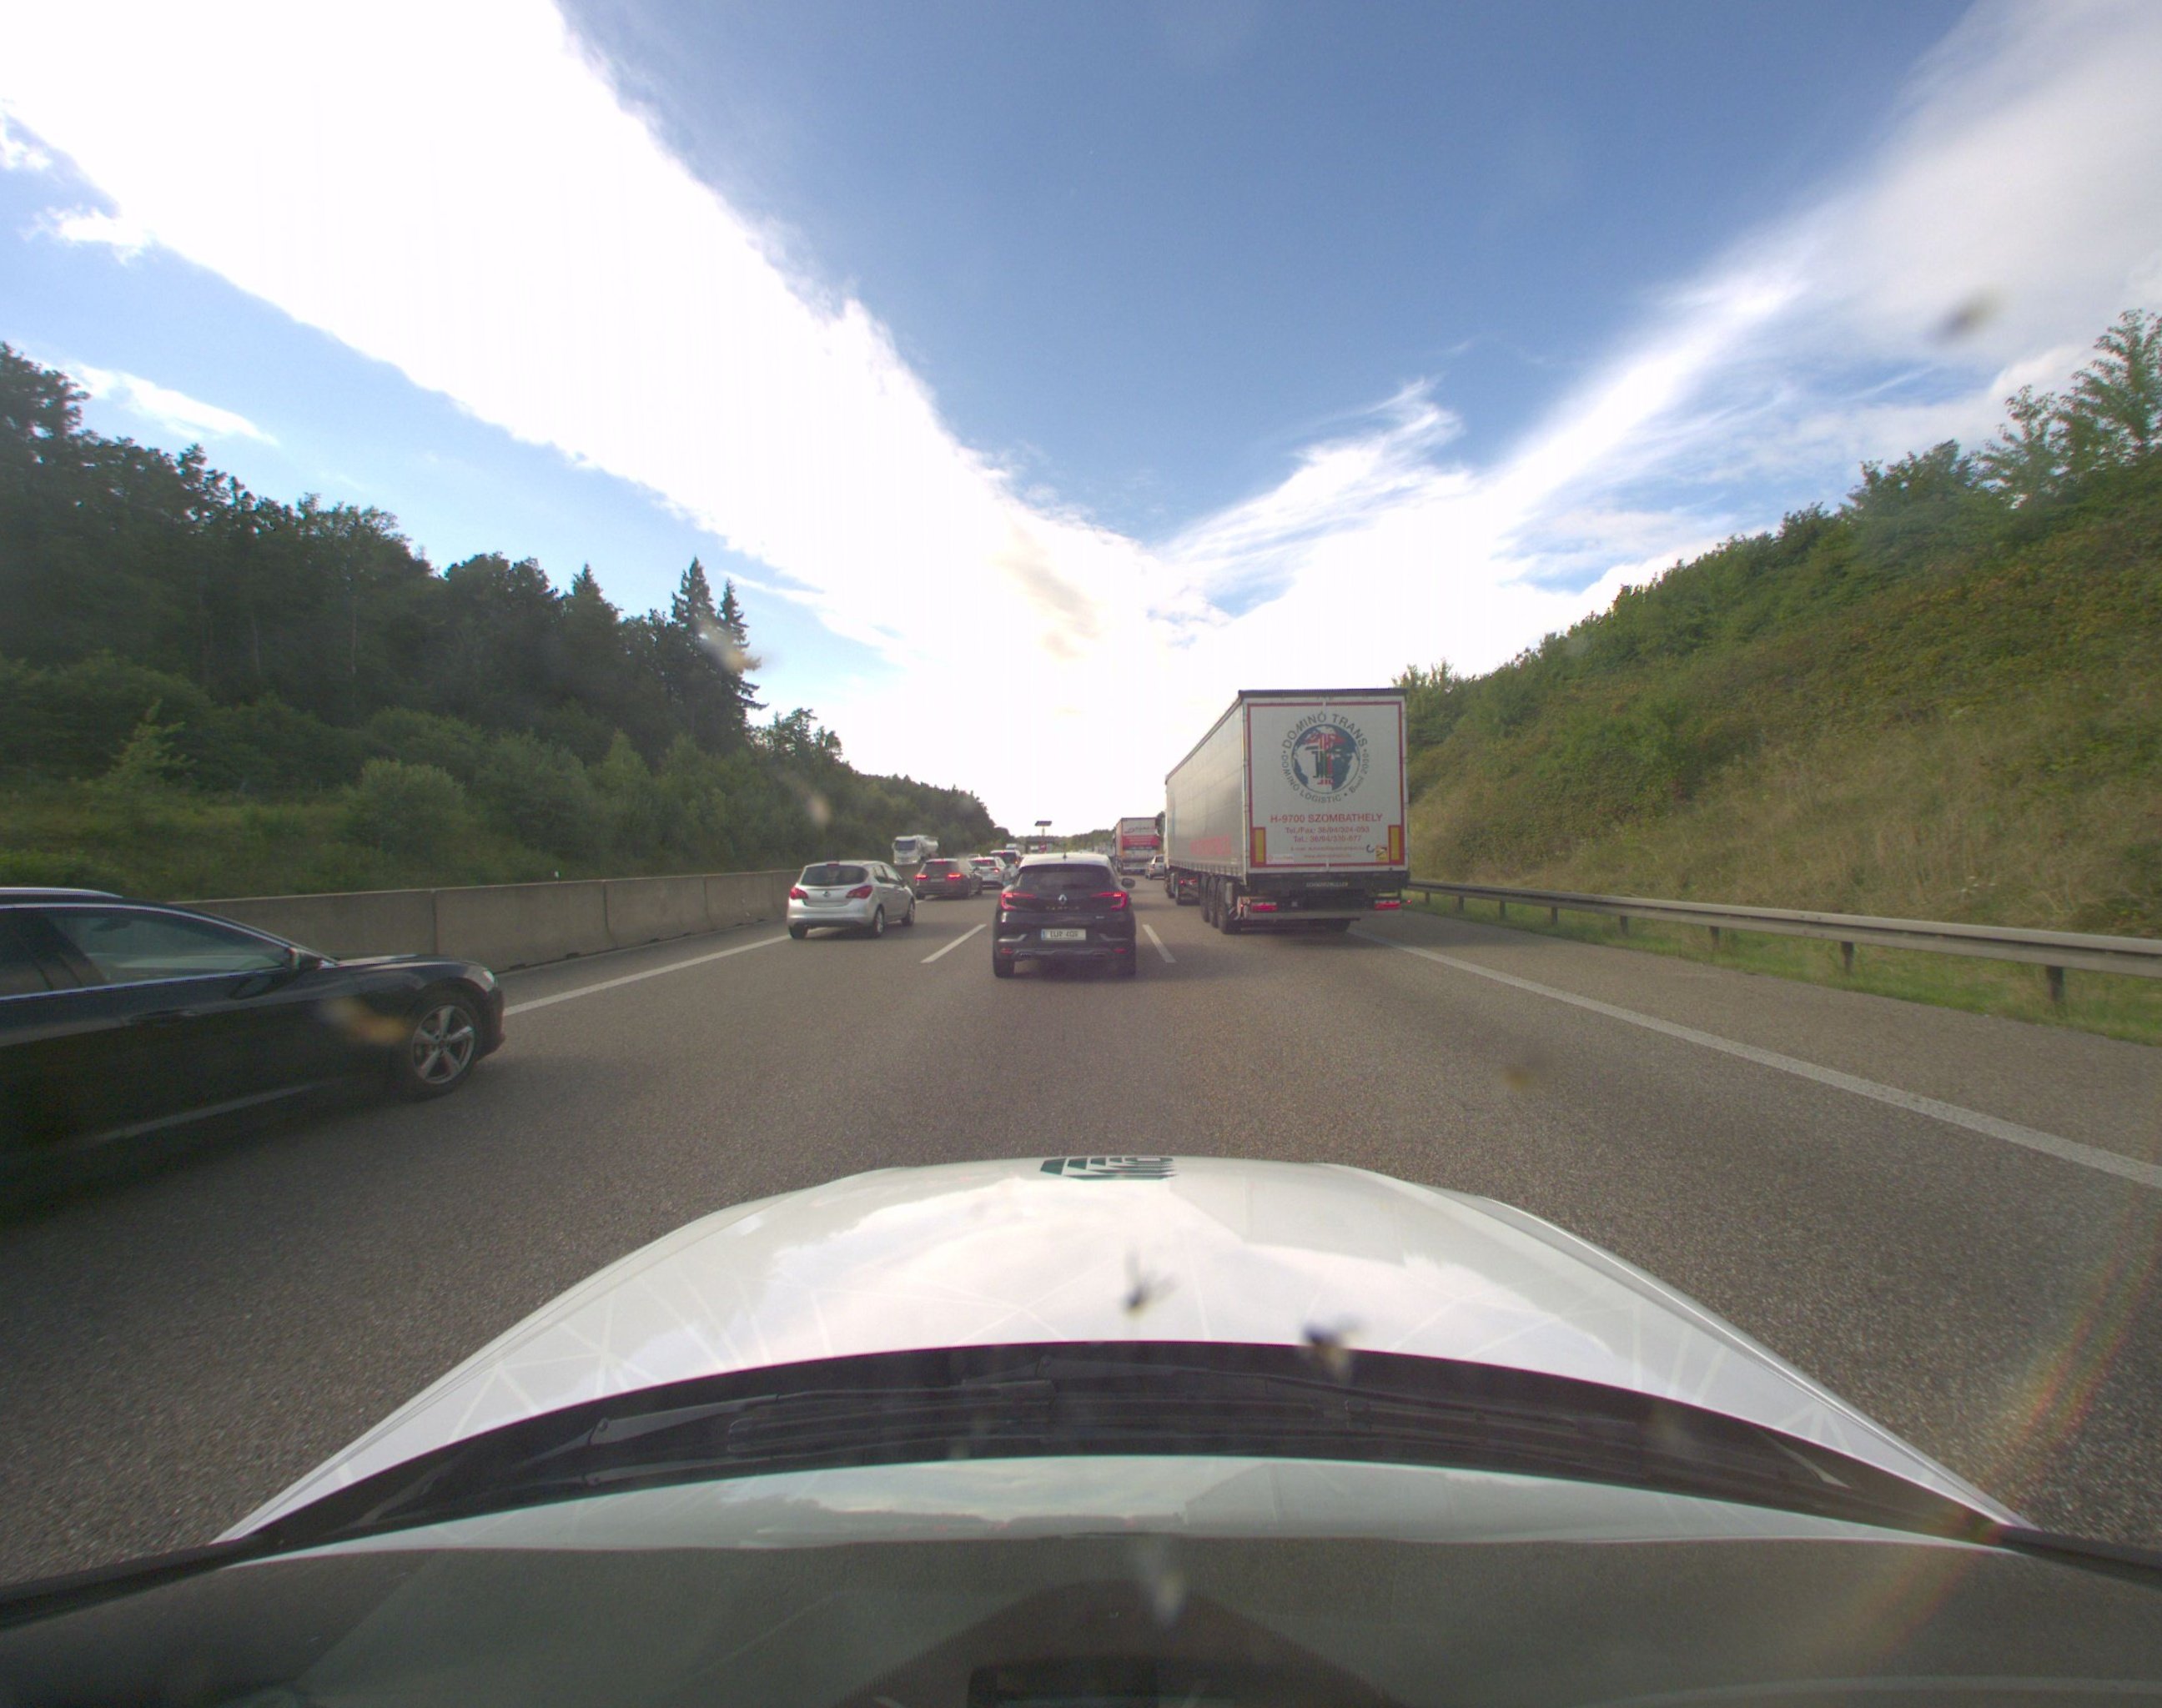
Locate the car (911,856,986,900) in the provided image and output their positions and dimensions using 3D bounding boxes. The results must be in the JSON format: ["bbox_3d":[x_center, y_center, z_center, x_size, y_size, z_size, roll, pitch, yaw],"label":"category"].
[{"bbox_3d":[-4.732,0.809,29.798,1.836,1.456,4.749,0,0,1],"label":"car"}]

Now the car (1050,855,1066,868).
[{"bbox_3d":[-3.020,0.981,108.020,1.986,1.613,4.001,-1,0,1],"label":"car"}]

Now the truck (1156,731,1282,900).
[{"bbox_3d":[4.113,-1.073,25.577,2.987,4.667,5.940,-1,0,1],"label":"truck"}]

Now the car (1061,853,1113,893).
[{"bbox_3d":[0.286,0.749,33.024,1.986,1.514,4.001,0,-1,1],"label":"car"}]

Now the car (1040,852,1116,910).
[{"bbox_3d":[-0.018,0.738,23.449,1.986,1.514,4.001,0,-1,1],"label":"car"}]

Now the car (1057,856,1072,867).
[{"bbox_3d":[-2.400,1.081,119.953,1.986,1.613,4.001,-1,0,1],"label":"car"}]

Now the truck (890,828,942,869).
[{"bbox_3d":[-18.528,-0.534,92.508,2.922,4.354,13.910,0,-1,0],"label":"truck"}]

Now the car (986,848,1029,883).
[{"bbox_3d":[-3.996,0.621,44.899,1.905,1.789,4.417,0,-1,0],"label":"car"}]

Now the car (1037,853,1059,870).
[{"bbox_3d":[-3.302,0.760,82.446,1.986,1.613,4.001,-1,0,1],"label":"car"}]

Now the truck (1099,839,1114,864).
[{"bbox_3d":[5.555,-0.434,176.486,3.154,5.159,12.742,0,-1,2],"label":"truck"}]

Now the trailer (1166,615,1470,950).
[{"bbox_3d":[4.006,-1.010,18.031,2.992,4.661,13.291,-1,0,1],"label":"trailer"}]

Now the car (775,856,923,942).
[{"bbox_3d":[-4.550,0.813,16.614,1.741,1.465,4.041,-1,0,1],"label":"car"}]

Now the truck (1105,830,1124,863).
[{"bbox_3d":[5.925,-1.205,141.388,3.153,5.505,12.747,0,-1,3],"label":"truck"}]

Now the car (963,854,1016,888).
[{"bbox_3d":[-4.192,0.756,37.926,1.797,1.461,4.310,-1,0,2],"label":"car"}]

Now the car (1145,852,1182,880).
[{"bbox_3d":[4.787,0.694,47.892,1.799,1.533,3.925,0,-1,0],"label":"car"}]

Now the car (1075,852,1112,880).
[{"bbox_3d":[0.744,0.668,46.688,1.986,1.514,4.001,0,-1,1],"label":"car"}]

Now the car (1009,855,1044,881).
[{"bbox_3d":[-3.519,0.879,52.795,1.848,1.641,3.927,0,-1,2],"label":"car"}]

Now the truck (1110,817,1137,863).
[{"bbox_3d":[5.354,-1.630,105.113,3.154,5.505,12.742,0,-1,2],"label":"truck"}]

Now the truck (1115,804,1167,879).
[{"bbox_3d":[4.277,-0.802,61.238,3.352,5.044,12.742,0,-1,2],"label":"truck"}]

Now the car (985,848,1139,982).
[{"bbox_3d":[-0.106,0.730,11.606,1.797,1.552,4.004,-1,0,3],"label":"car"}]

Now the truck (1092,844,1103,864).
[{"bbox_3d":[4.899,0.094,238.771,3.154,5.505,12.742,0,-1,2],"label":"truck"}]

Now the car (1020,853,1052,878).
[{"bbox_3d":[-3.238,0.823,59.762,1.986,1.722,4.001,0,-1,1],"label":"car"}]

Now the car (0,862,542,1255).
[{"bbox_3d":[-5.058,0.805,3.677,1.875,1.471,4.854,0,0,2],"label":"car"}]

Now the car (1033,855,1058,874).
[{"bbox_3d":[-3.157,0.932,72.828,1.986,1.613,4.001,0,-1,1],"label":"car"}]
